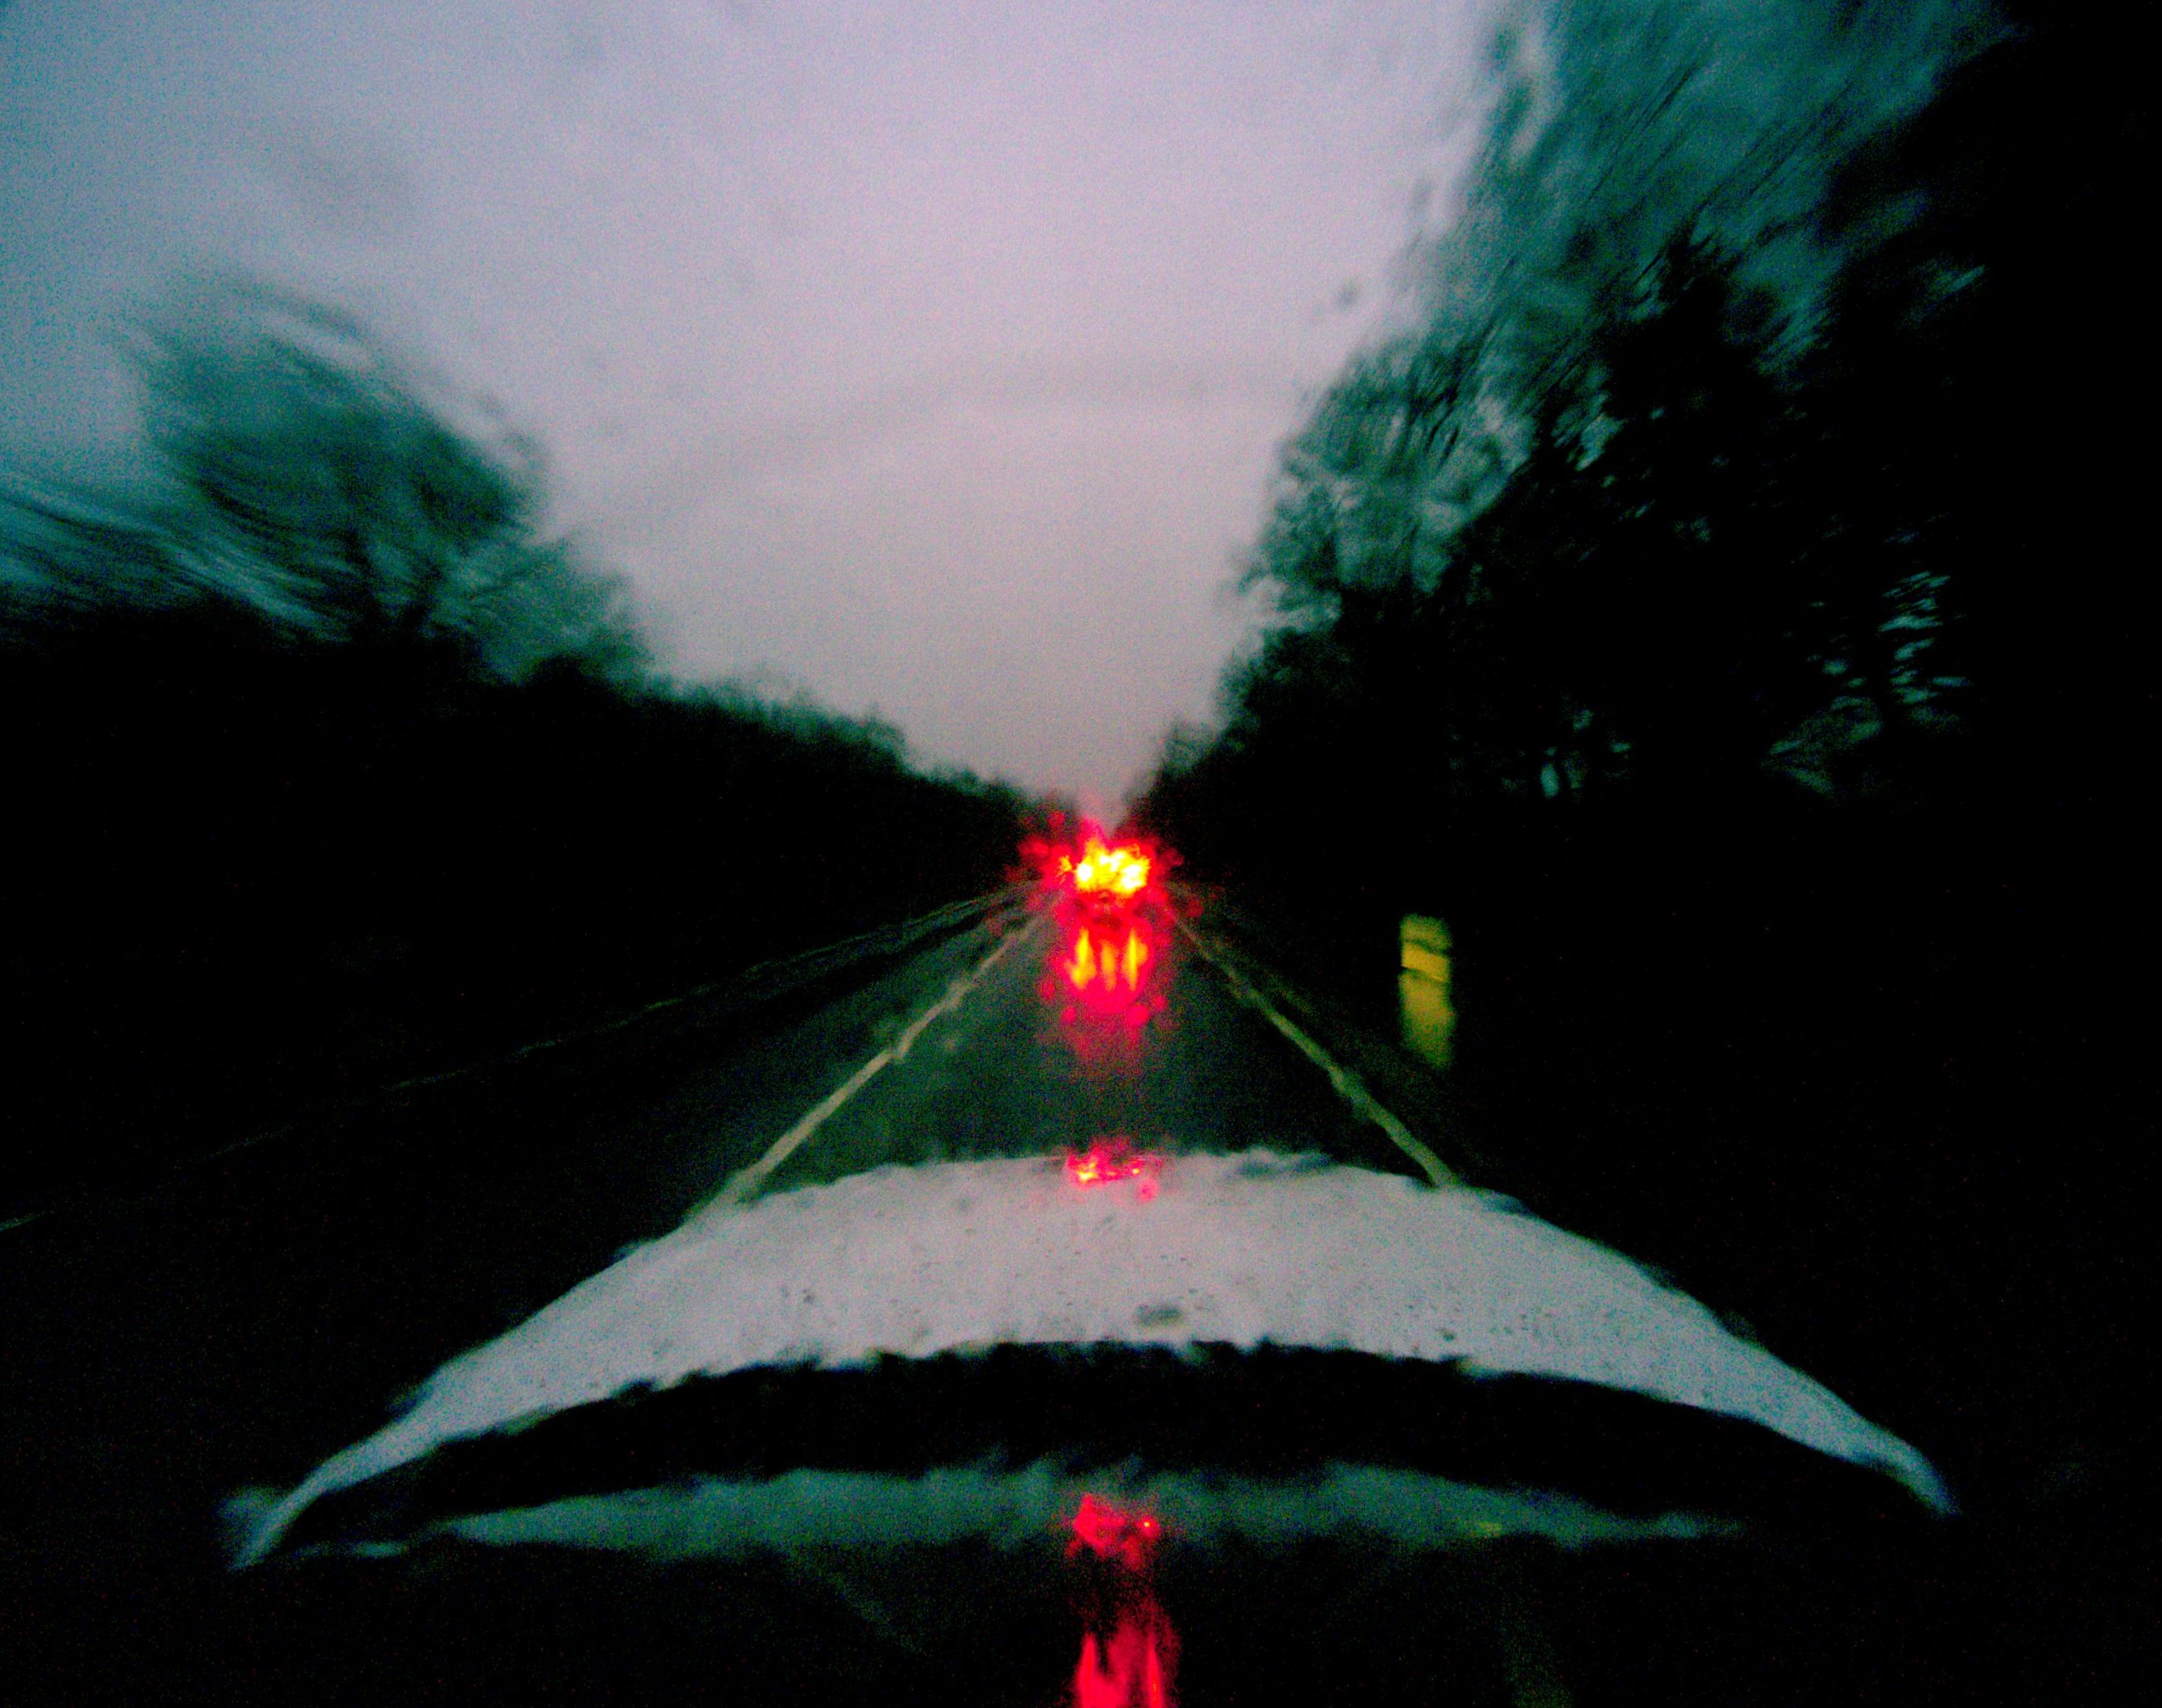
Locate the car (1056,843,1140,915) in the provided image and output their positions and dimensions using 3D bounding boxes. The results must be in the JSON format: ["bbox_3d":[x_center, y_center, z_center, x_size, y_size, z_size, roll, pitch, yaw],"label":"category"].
[{"bbox_3d":[0.516,0.660,23.680,2.190,1.877,4.828,0,0,1],"label":"car"}]
